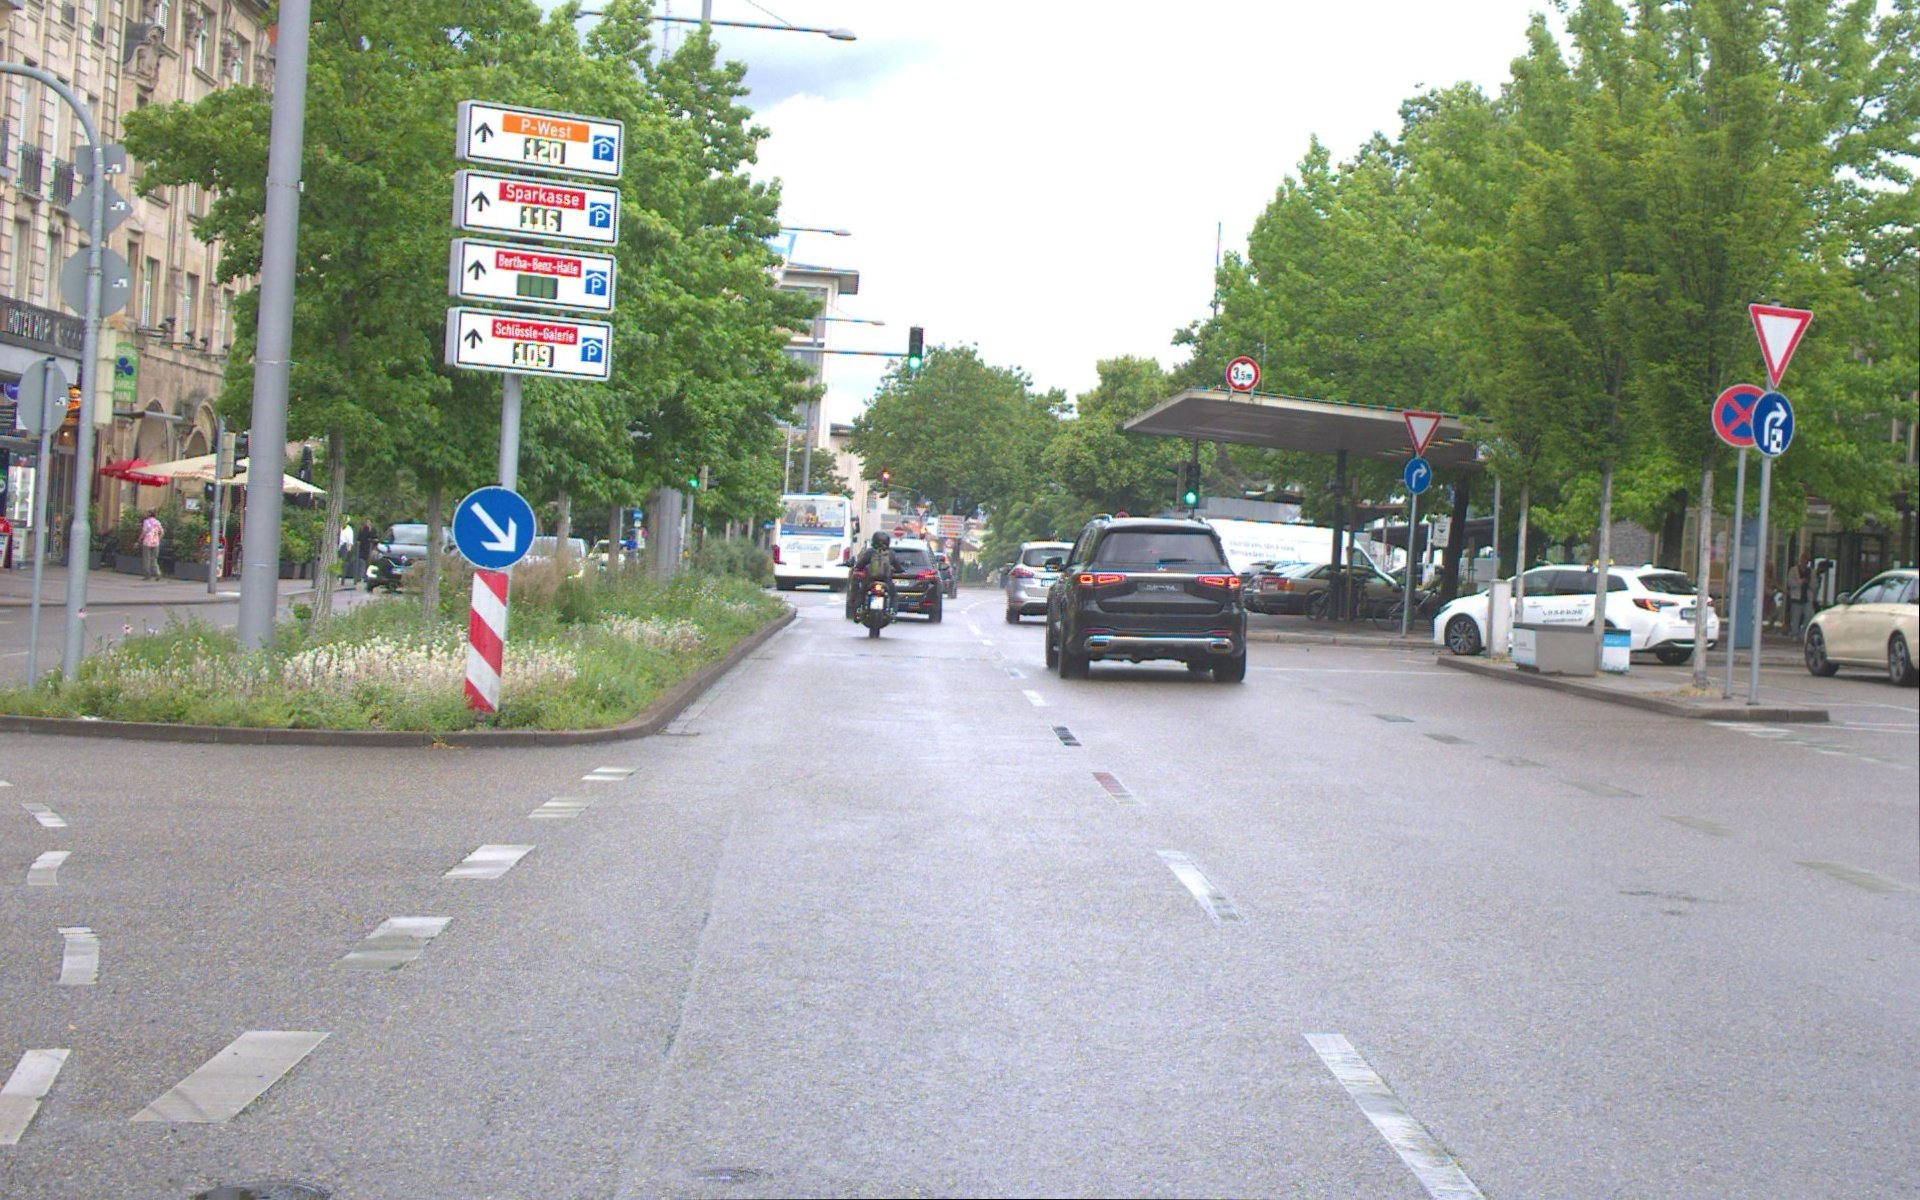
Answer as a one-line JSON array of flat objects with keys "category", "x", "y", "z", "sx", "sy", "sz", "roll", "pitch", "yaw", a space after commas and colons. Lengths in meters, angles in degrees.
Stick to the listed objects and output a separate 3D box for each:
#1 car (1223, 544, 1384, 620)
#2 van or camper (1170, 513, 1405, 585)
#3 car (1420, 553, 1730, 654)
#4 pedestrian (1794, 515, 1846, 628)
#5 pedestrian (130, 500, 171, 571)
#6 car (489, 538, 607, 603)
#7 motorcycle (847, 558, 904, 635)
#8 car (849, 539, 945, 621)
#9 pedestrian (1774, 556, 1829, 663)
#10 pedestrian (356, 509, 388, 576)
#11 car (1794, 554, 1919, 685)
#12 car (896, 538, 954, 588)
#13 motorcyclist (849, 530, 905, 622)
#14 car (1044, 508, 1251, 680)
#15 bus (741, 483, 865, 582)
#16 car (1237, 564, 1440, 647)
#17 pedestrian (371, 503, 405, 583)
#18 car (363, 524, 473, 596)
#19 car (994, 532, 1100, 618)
[{"category": "car", "x": 9.641, "y": -0.518, "z": 96.645, "sx": 3.986, "sy": 2.007, "sz": 2.001, "roll": 1, "pitch": 1, "yaw": -20}, {"category": "van or camper", "x": 9.817, "y": -1.517, "z": 102.935, "sx": 6.753, "sy": 2.007, "sz": 2.385, "roll": 1, "pitch": 0, "yaw": -26}, {"category": "car", "x": 9.087, "y": 0.029, "z": 51.044, "sx": 1.774, "sy": 1.380, "sz": 4.366, "roll": 0, "pitch": 1, "yaw": -41}, {"category": "pedestrian", "x": 18.425, "y": -0.615, "z": 73.679, "sx": 0.843, "sy": 2.403, "sz": 0.862, "roll": 1, "pitch": 1, "yaw": 1}, {"category": "pedestrian", "x": -17.370, "y": -1.377, "z": 73.769, "sx": 0.661, "sy": 1.505, "sz": 0.519, "roll": 1, "pitch": 1, "yaw": -38}, {"category": "car", "x": -9.024, "y": -0.677, "z": 75.634, "sx": 1.724, "sy": 1.377, "sz": 4.859, "roll": 1, "pitch": 1, "yaw": 3}, {"category": "motorcycle", "x": -1.230, "y": -0.067, "z": 50.523, "sx": 0.766, "sy": 1.073, "sz": 2.175, "roll": 2, "pitch": 1, "yaw": 0}, {"category": "car", "x": -1.163, "y": -0.395, "z": 64.309, "sx": 1.708, "sy": 1.443, "sz": 4.000, "roll": 1, "pitch": 1, "yaw": -1}, {"category": "pedestrian", "x": 15.971, "y": 0.171, "z": 65.280, "sx": 0.769, "sy": 2.007, "sz": 0.828, "roll": 1, "pitch": 1, "yaw": -2}, {"category": "pedestrian", "x": -14.930, "y": -1.466, "z": 87.336, "sx": 0.674, "sy": 1.696, "sz": 0.634, "roll": 1, "pitch": 1, "yaw": -1}, {"category": "car", "x": 12.612, "y": 0.235, "z": 44.295, "sx": 1.993, "sy": 1.594, "sz": 4.824, "roll": 1, "pitch": 1, "yaw": -7}, {"category": "car", "x": -1.059, "y": -1.127, "z": 104.109, "sx": 1.708, "sy": 1.469, "sz": 4.000, "roll": 1, "pitch": 1, "yaw": -1}, {"category": "motorcyclist", "x": -1.221, "y": -0.355, "z": 50.616, "sx": 0.764, "sy": 1.327, "sz": 0.866, "roll": 2, "pitch": 1, "yaw": 0}, {"category": "car", "x": 2.057, "y": -0.115, "z": 39.019, "sx": 1.993, "sy": 1.800, "sz": 4.690, "roll": 1, "pitch": 1, "yaw": -1}, {"category": "bus", "x": -5.650, "y": -2.348, "z": 120.720, "sx": 3.760, "sy": 3.198, "sz": 15.529, "roll": 1, "pitch": 1, "yaw": -5}, {"category": "car", "x": 9.058, "y": 0.136, "z": 82.275, "sx": 4.335, "sy": 1.851, "sz": 2.001, "roll": 1, "pitch": 1, "yaw": -20}, {"category": "pedestrian", "x": -14.555, "y": -1.455, "z": 87.518, "sx": 0.757, "sy": 2.007, "sz": 0.833, "roll": 1, "pitch": 1, "yaw": -7}, {"category": "car", "x": -12.034, "y": -0.904, "z": 76.552, "sx": 1.771, "sy": 1.525, "sz": 4.079, "roll": 1, "pitch": 1, "yaw": 0}, {"category": "car", "x": 1.648, "y": -0.499, "z": 66.313, "sx": 1.851, "sy": 1.562, "sz": 4.000, "roll": 1, "pitch": 1, "yaw": -1}]
